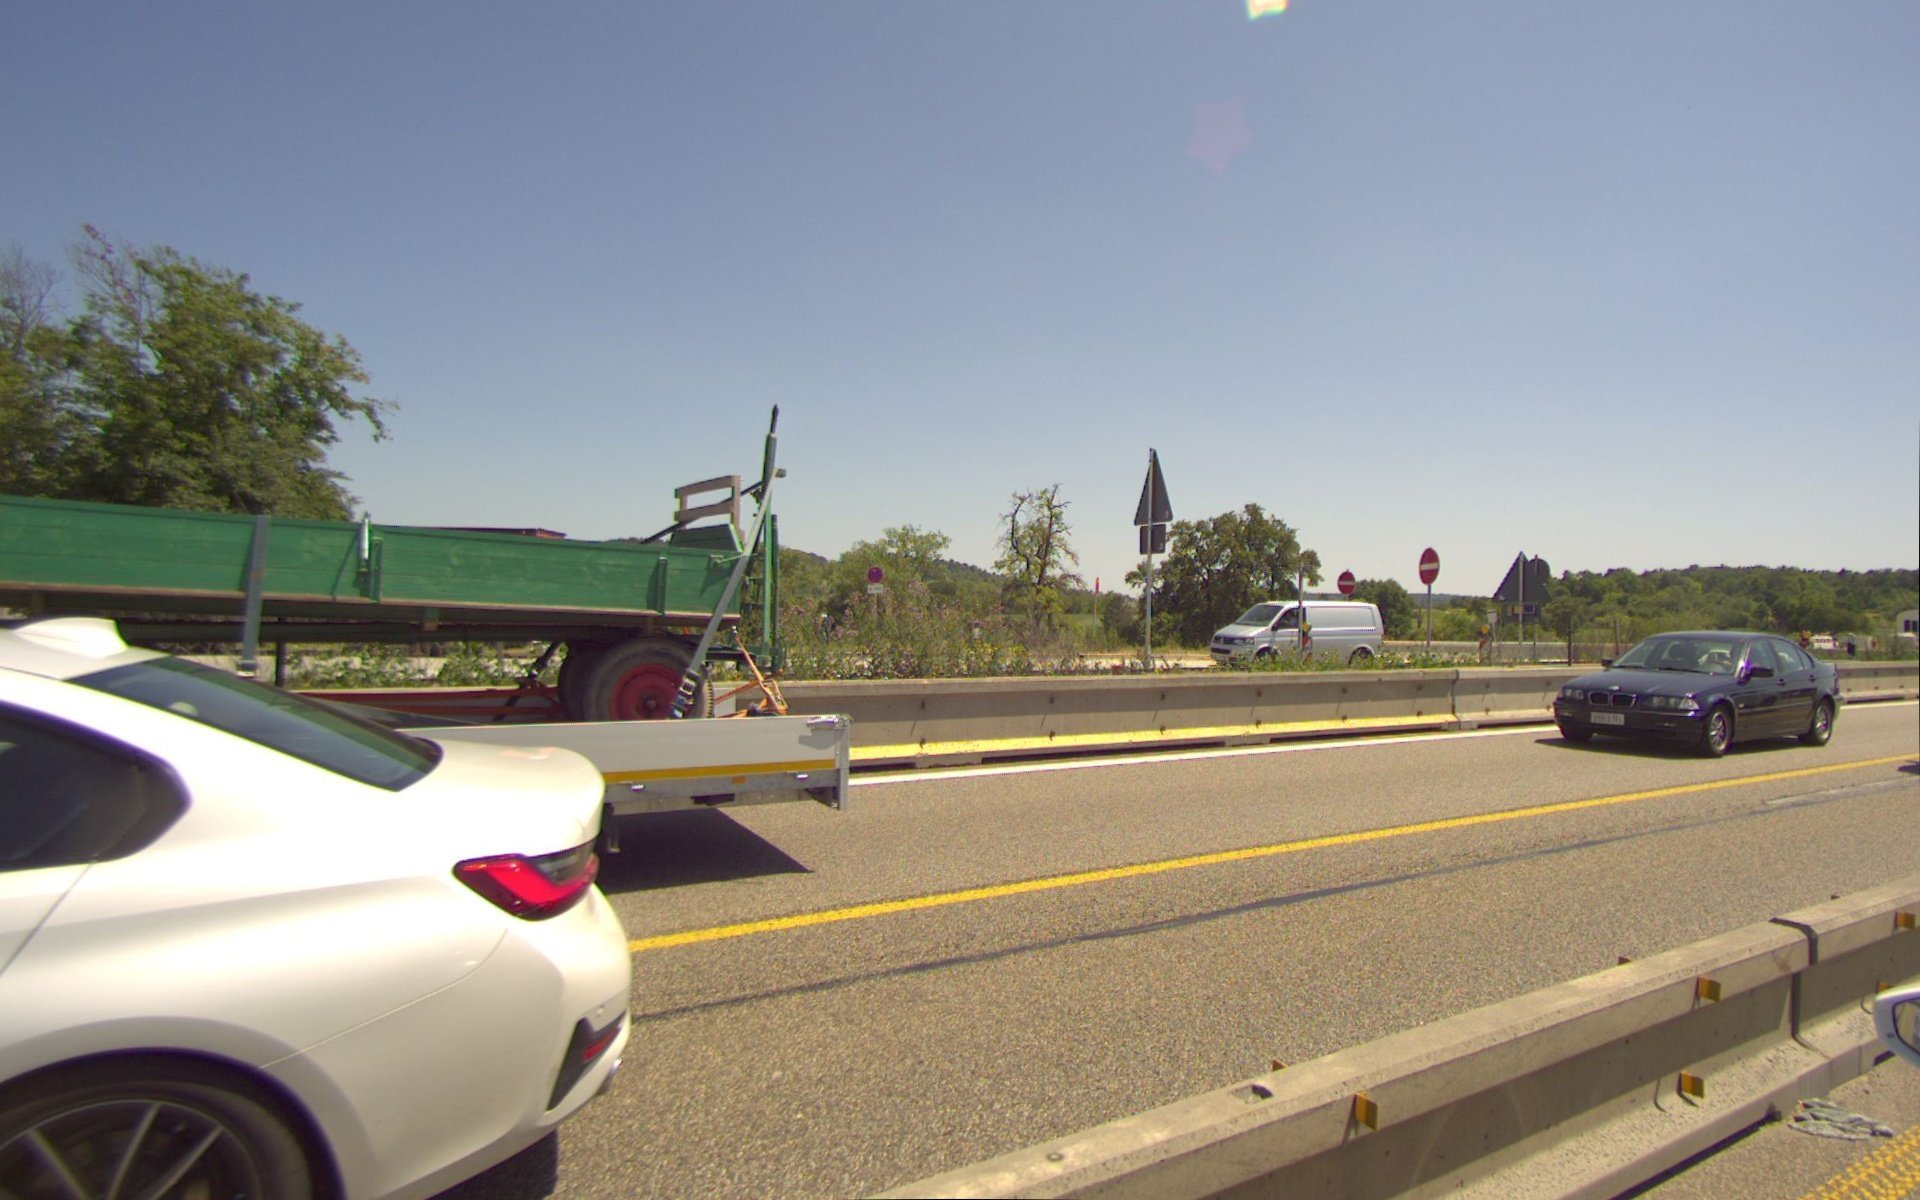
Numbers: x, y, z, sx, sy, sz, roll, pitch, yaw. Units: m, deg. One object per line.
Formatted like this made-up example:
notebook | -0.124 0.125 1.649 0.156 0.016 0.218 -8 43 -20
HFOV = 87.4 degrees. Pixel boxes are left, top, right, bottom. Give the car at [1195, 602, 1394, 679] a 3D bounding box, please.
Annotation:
car | 9.165 1.049 27.579 5.011 1.967 1.917 0 0 -17

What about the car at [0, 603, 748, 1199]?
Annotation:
car | -2.754 0.725 2.092 4.198 1.394 1.808 1 -2 -31

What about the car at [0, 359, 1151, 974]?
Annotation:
car | -1.872 0.303 6.237 6.377 2.431 1.905 1 -1 -31

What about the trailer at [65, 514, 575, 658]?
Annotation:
trailer | -19.899 -0.378 32.003 13.889 4.166 3.159 1 -1 -3

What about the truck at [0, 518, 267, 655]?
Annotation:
truck | -26.109 -0.373 31.650 6.224 4.038 3.159 1 -1 -3

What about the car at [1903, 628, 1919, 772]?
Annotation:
car | 12.299 1.071 10.962 4.466 1.498 1.726 1 0 -30

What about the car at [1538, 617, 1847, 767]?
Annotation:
car | 9.307 1.035 12.710 3.953 1.618 1.758 1 0 -31
